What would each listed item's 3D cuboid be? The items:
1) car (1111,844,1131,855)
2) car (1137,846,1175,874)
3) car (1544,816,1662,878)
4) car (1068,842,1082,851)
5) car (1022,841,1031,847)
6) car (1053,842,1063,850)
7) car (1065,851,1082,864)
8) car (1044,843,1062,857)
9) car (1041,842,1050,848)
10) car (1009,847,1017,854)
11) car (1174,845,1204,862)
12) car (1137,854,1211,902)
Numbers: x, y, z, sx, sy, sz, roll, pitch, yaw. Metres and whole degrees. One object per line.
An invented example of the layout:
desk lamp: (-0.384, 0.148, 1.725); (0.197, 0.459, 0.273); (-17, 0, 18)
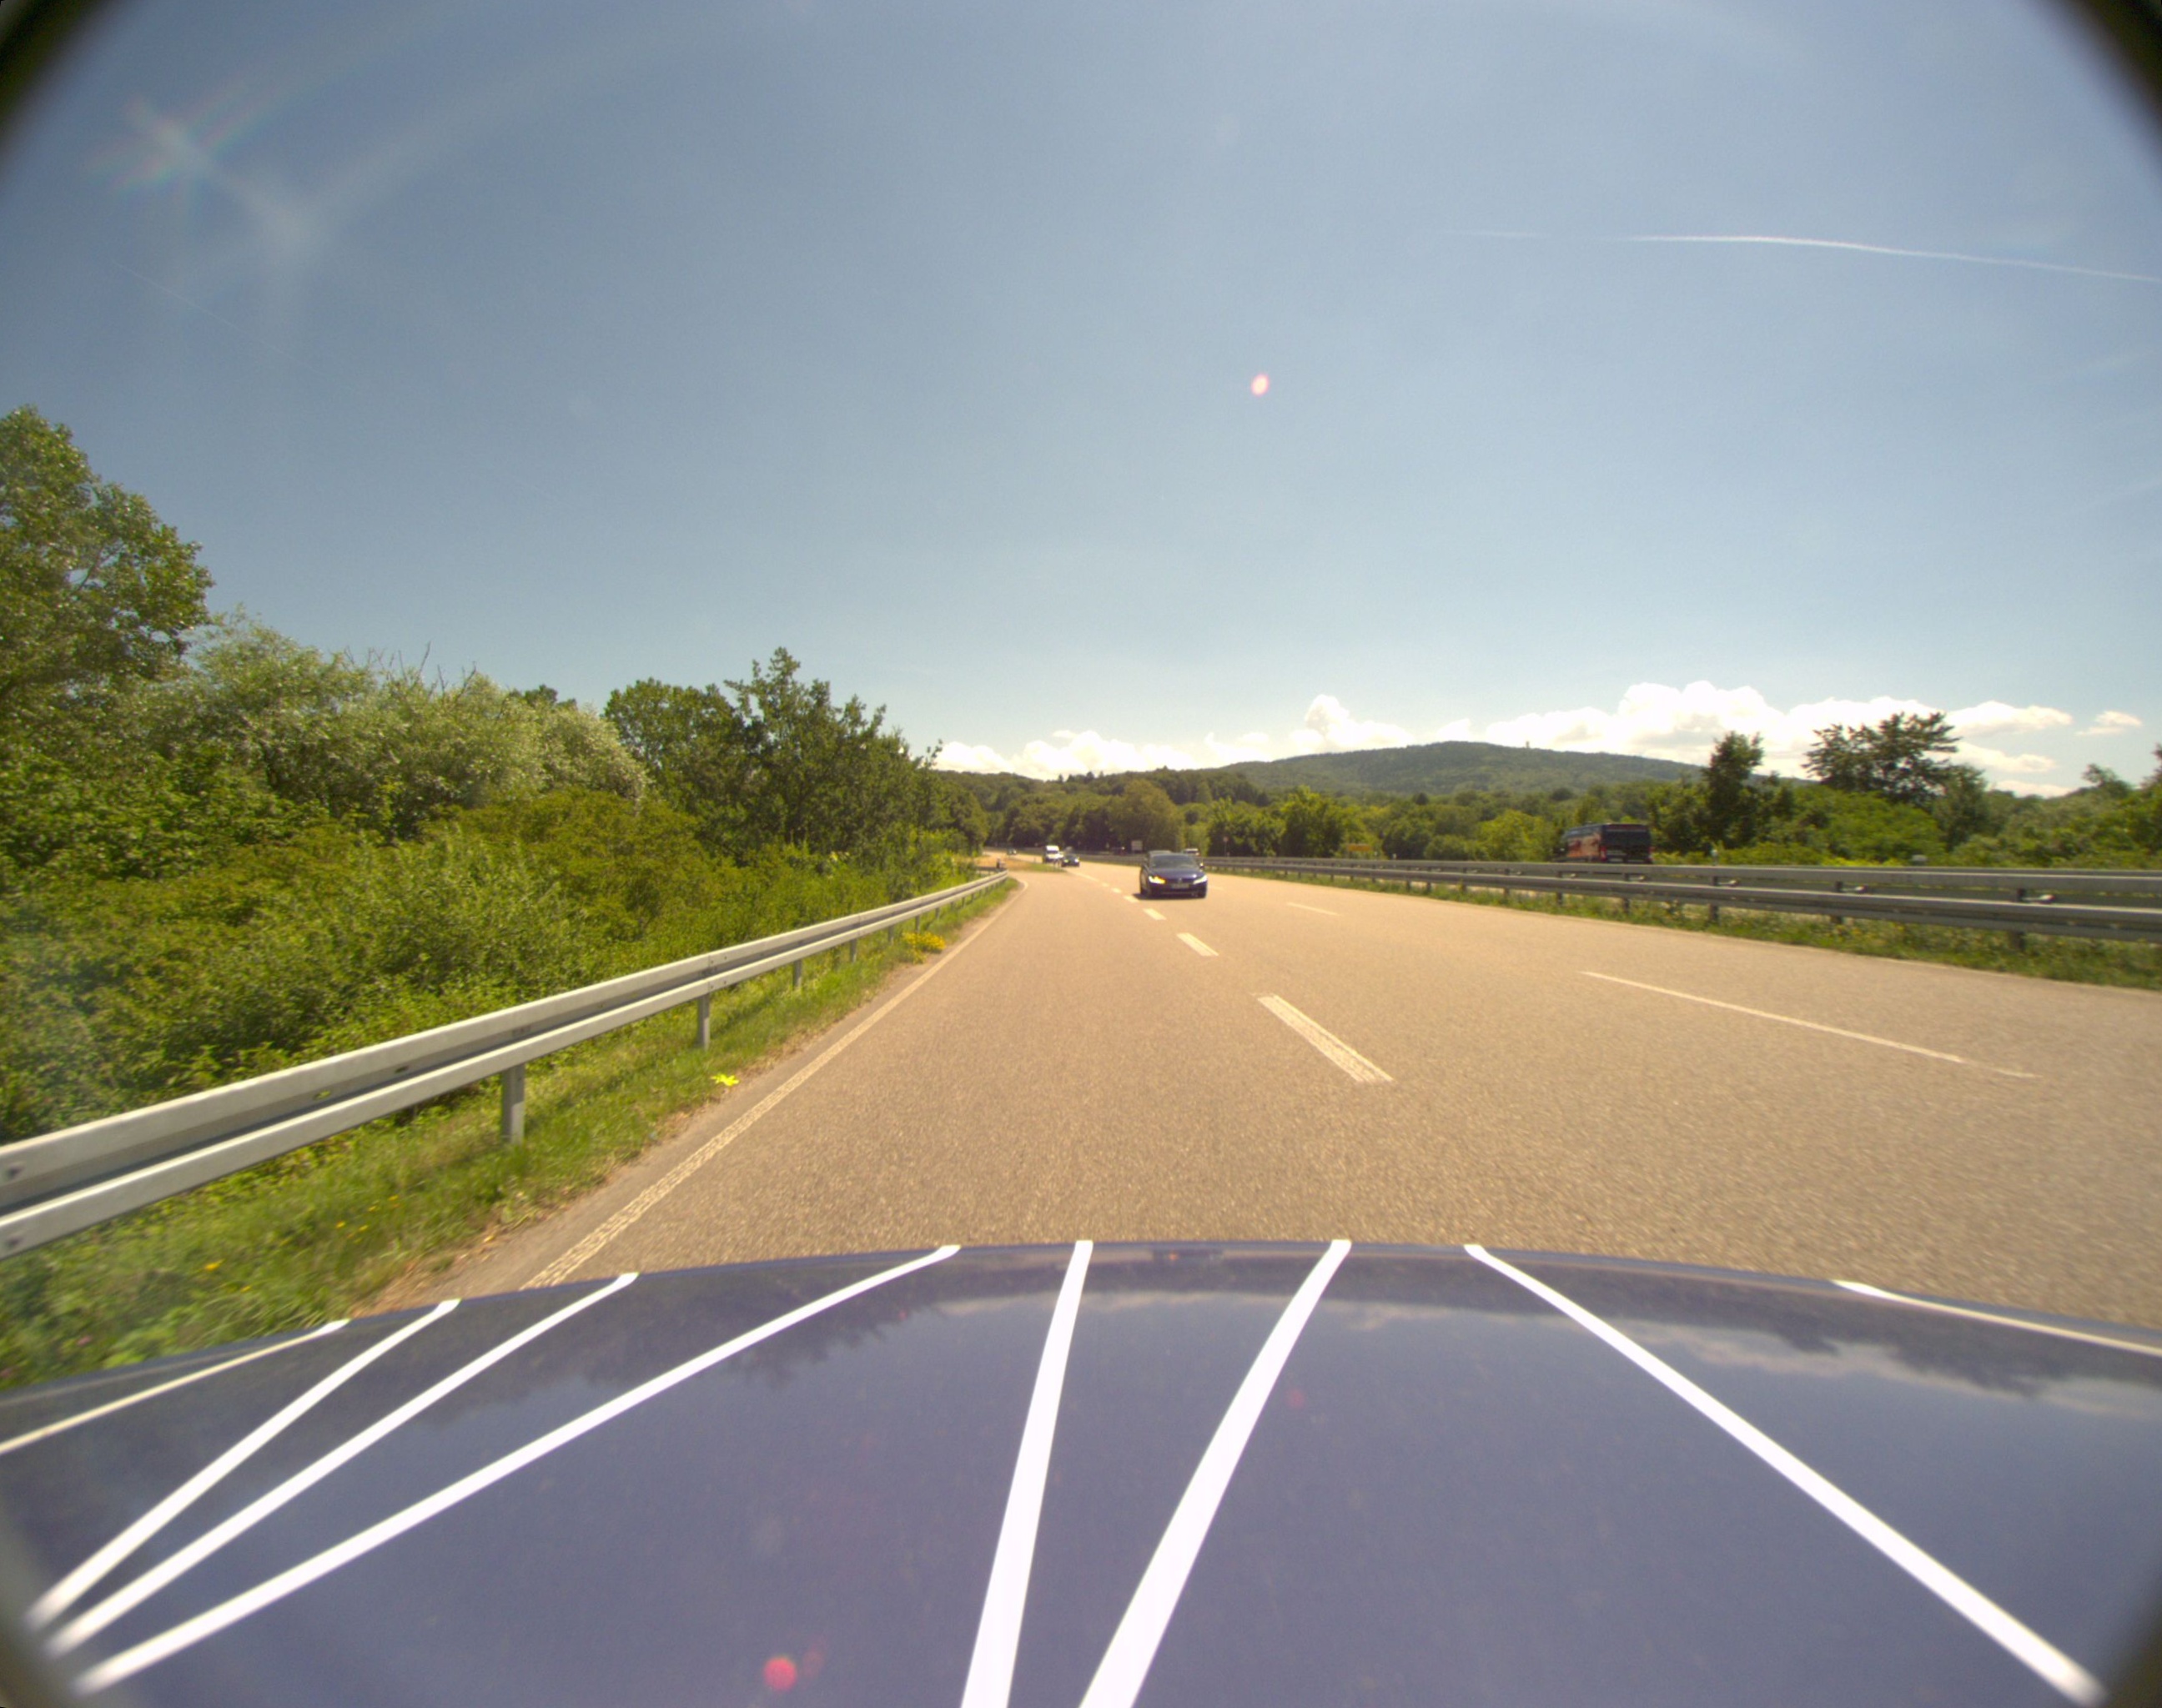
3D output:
car: (6.913, -0.770, 131.379); (2.212, 1.882, 4.905); (0, 2, -11)
car: (4.881, 0.419, 49.902); (1.798, 1.657, 4.554); (-3, -1, -2)
car: (23.842, -0.383, 35.057); (2.208, 2.623, 5.627); (0, 2, 8)
car: (-1.436, -1.634, 170.403); (2.001, 1.882, 4.904); (-1, 2, -15)
car: (-17.369, -3.238, 241.723); (2.000, 1.882, 4.905); (0, 2, -11)
car: (-6.099, -2.112, 200.687); (2.000, 1.882, 4.905); (0, 2, -11)
car: (-0.843, 0.355, 87.413); (1.846, 1.400, 4.468); (-1, 1, -2)
car: (-4.074, -0.621, 110.285); (2.010, 1.988, 4.575); (-1, 1, -8)
car: (-10.249, -2.624, 219.290); (2.000, 1.882, 4.905); (0, 2, -11)
car: (-16.404, -0.893, 183.874); (1.876, 1.594, 3.996); (0, 2, -7)
car: (12.765, -0.103, 89.902); (2.211, 1.882, 4.906); (0, 2, -9)
car: (2.972, 0.720, 25.152); (1.846, 1.399, 4.469); (-1, 0, -1)
